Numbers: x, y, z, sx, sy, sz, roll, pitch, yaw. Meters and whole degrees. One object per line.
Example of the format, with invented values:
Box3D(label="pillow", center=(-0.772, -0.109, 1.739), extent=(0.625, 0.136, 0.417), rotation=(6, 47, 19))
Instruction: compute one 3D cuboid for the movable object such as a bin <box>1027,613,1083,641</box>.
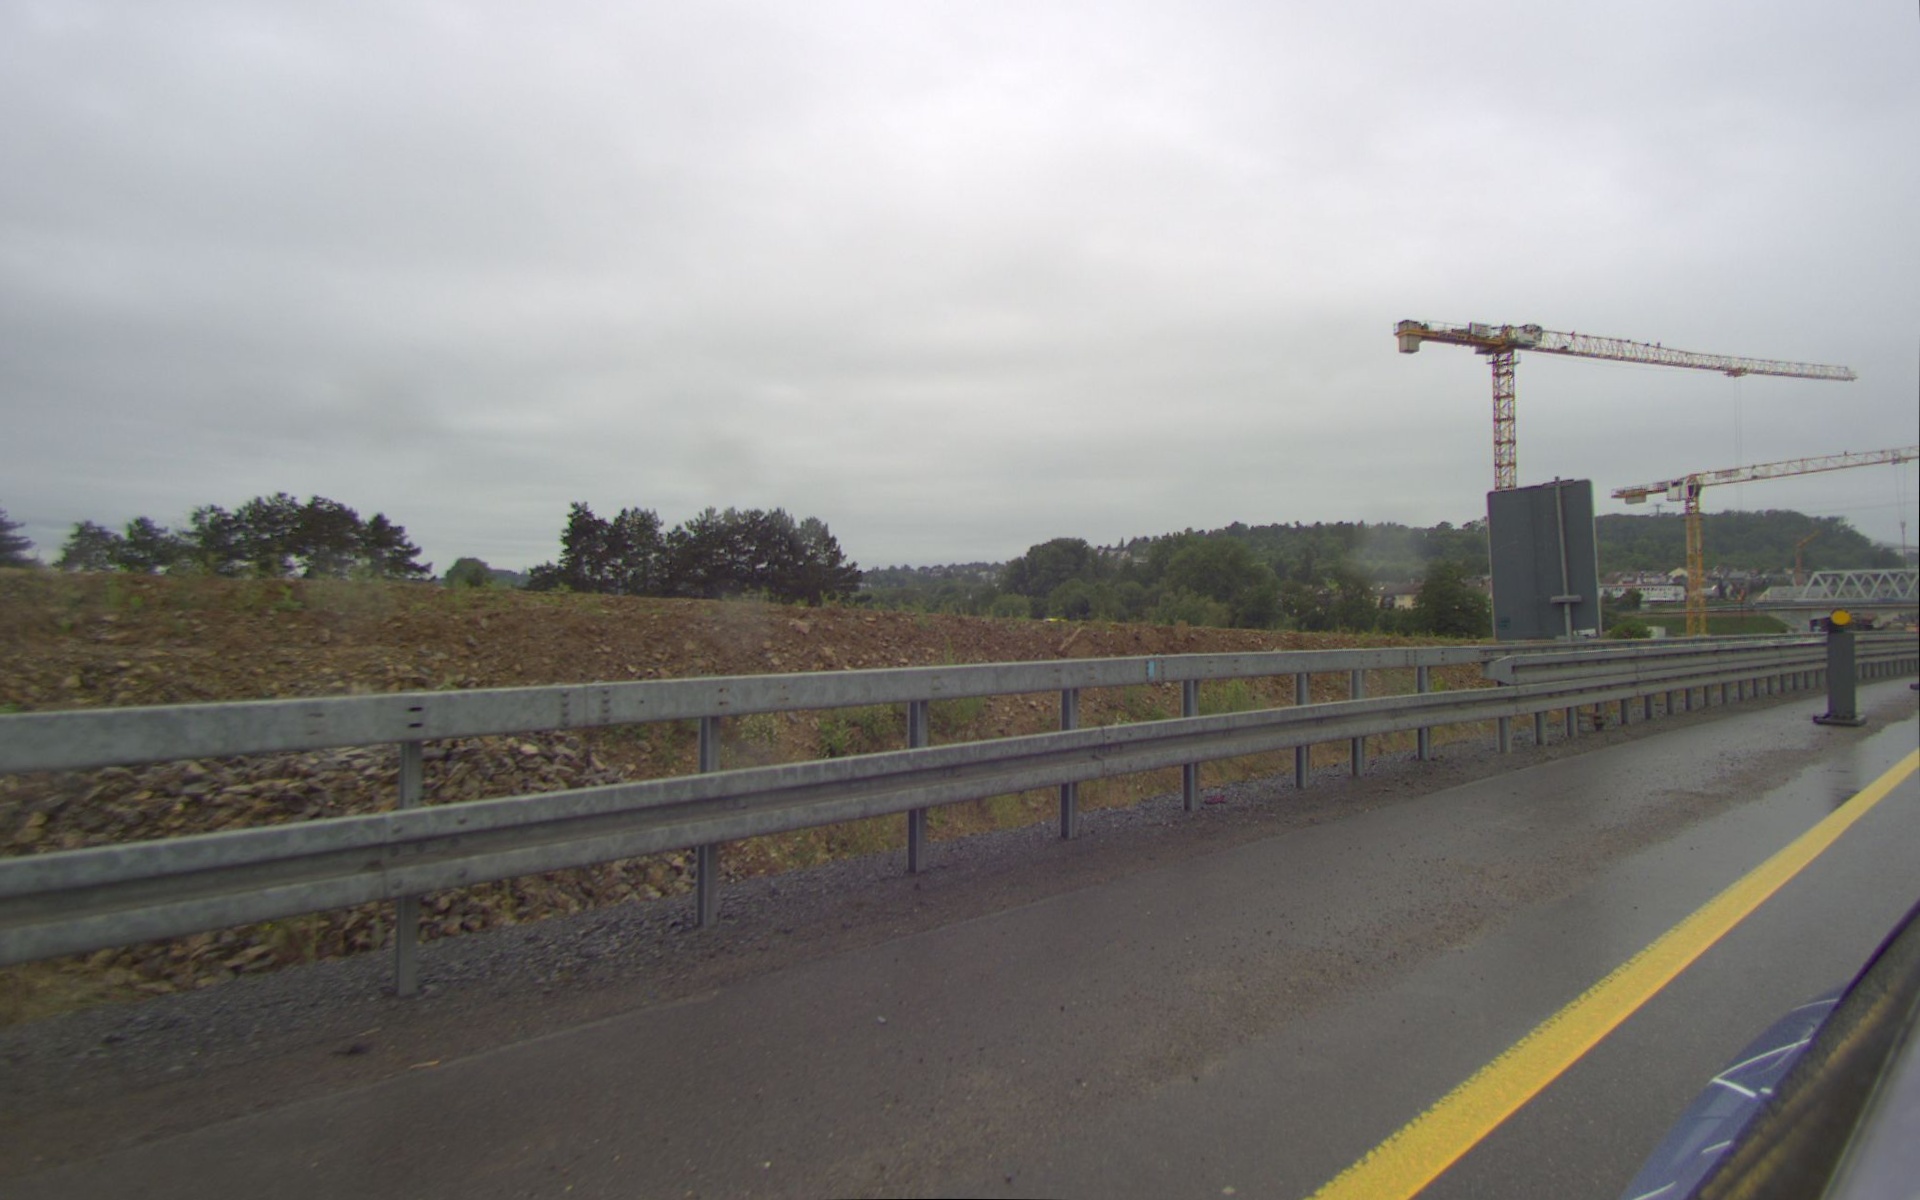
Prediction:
Box3D(label="movable object such as a bin", center=(4.762, 1.318, 50.657), extent=(2.662, 1.318, 1.388), rotation=(1, 0, -45))
